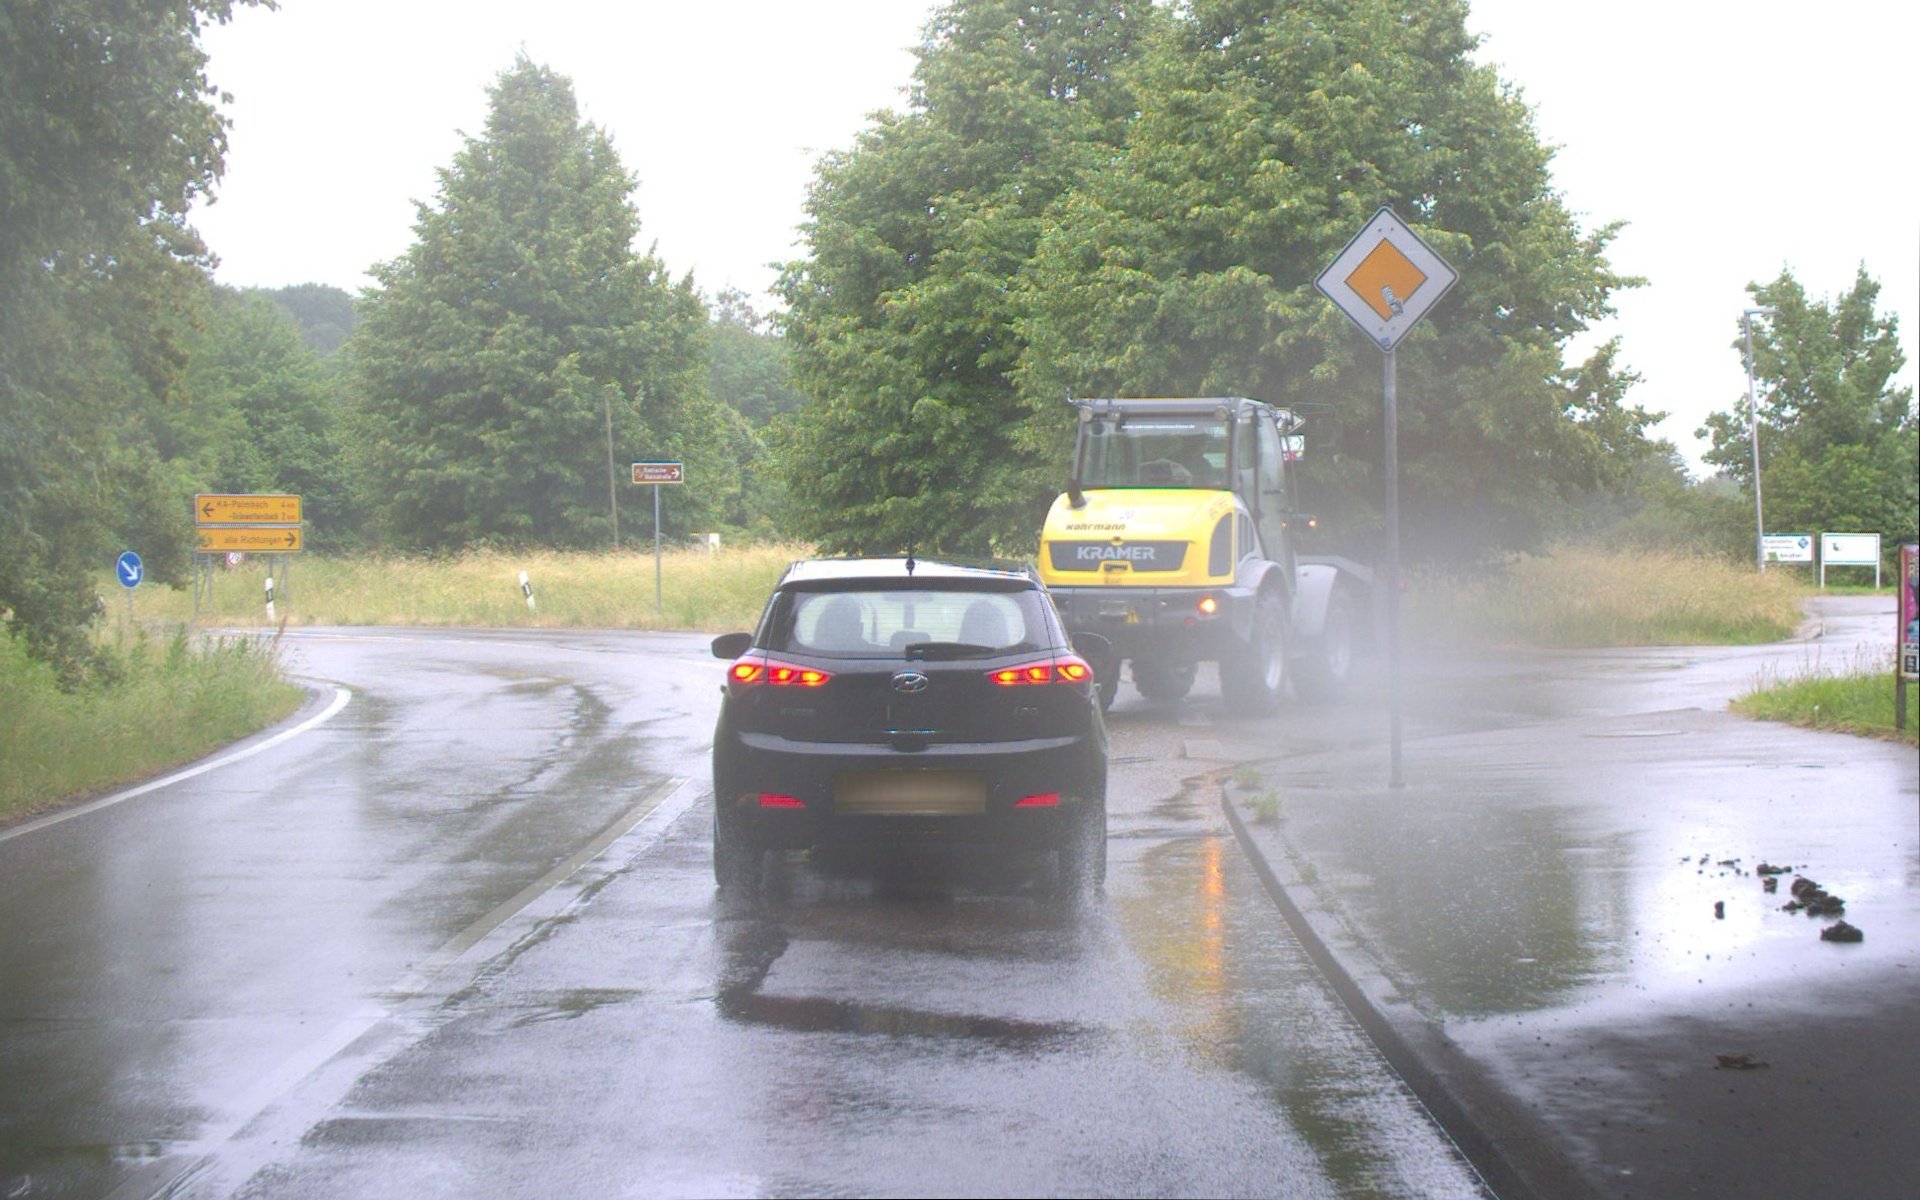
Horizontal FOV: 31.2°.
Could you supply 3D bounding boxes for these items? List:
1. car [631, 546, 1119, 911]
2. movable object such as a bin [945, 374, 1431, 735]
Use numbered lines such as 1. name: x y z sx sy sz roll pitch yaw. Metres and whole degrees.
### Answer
1. car: -0.493 0.508 16.220 1.993 1.482 4.001 1 1 -4
2. movable object such as a bin: 2.103 -0.382 28.811 2.248 2.660 6.620 1 1 20
